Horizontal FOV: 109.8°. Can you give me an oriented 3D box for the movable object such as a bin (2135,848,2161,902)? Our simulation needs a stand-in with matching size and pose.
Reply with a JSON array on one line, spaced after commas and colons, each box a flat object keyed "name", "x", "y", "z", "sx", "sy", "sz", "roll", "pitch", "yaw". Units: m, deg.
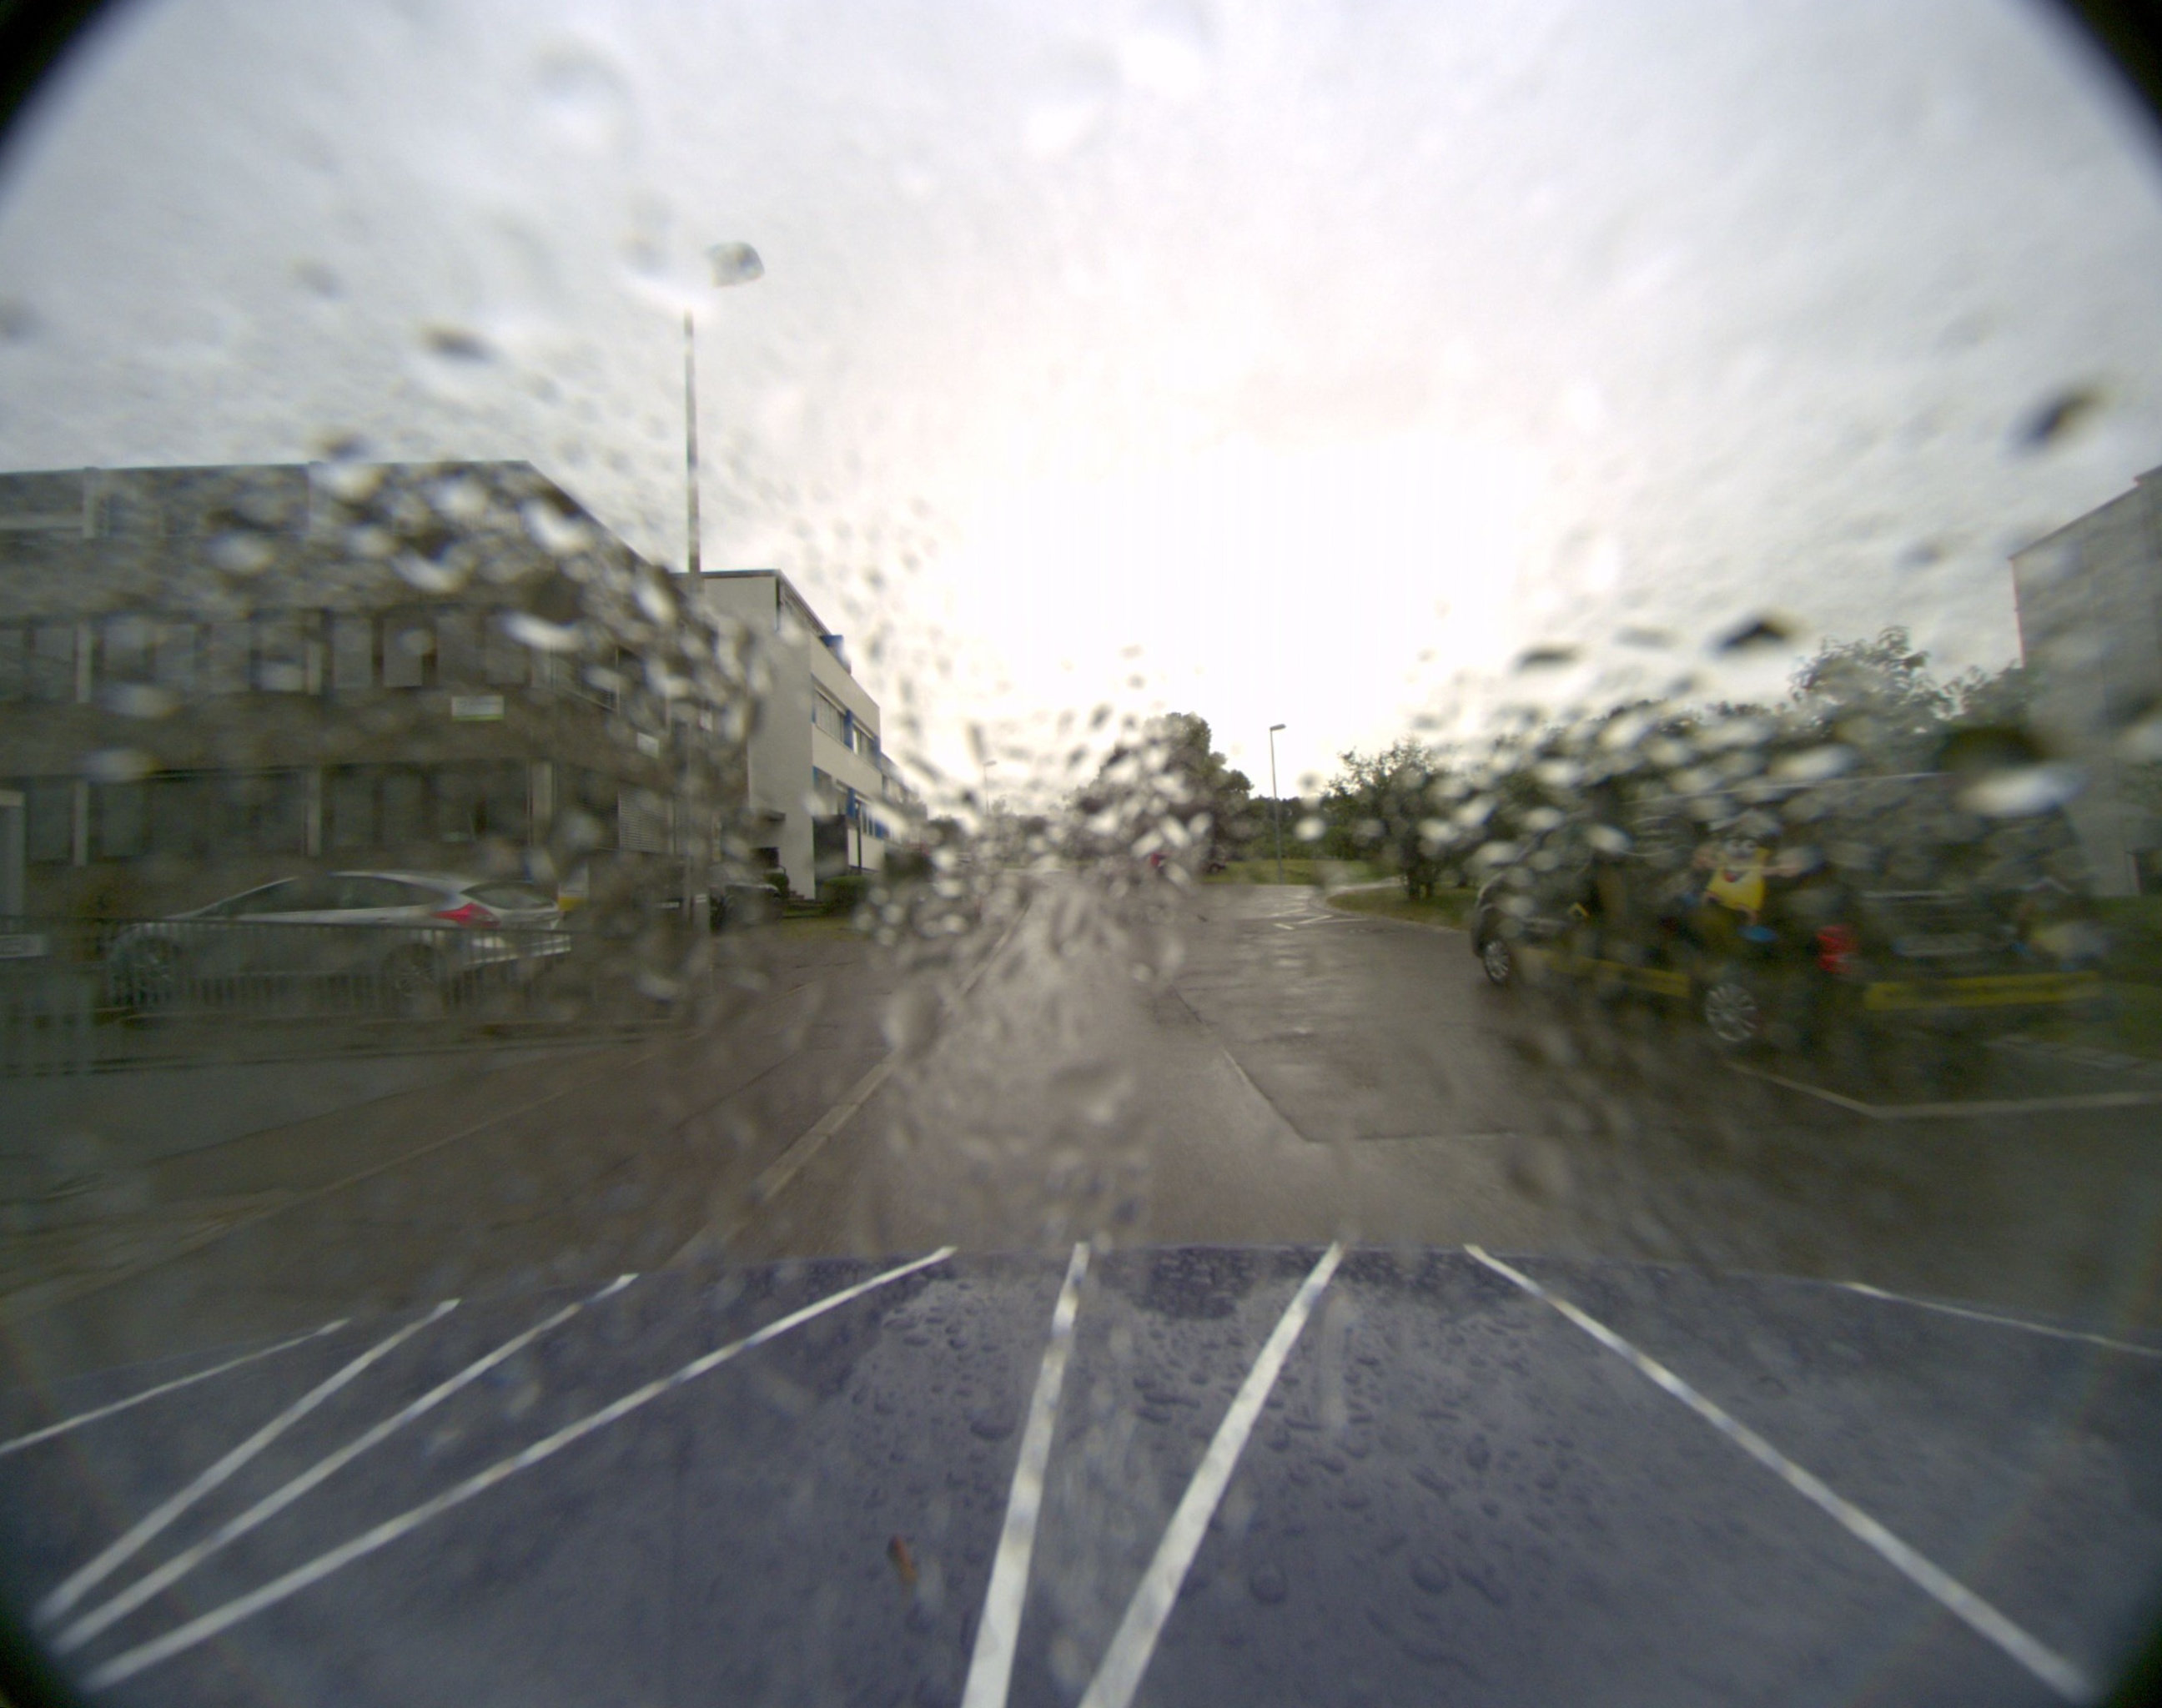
[{"name": "movable object such as a bin", "x": 21.930, "y": 0.413, "z": 15.253, "sx": 0.635, "sy": 1.090, "sz": 0.675, "roll": -1, "pitch": 0, "yaw": 24}]

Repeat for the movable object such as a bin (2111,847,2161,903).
[{"name": "movable object such as a bin", "x": 22.132, "y": 0.436, "z": 15.851, "sx": 0.555, "sy": 1.159, "sz": 0.568, "roll": -1, "pitch": 0, "yaw": 24}]

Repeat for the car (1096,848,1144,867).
[{"name": "car", "x": 3.869, "y": 0.320, "z": 75.295, "sx": 4.382, "sy": 1.712, "sz": 2.043, "roll": -2, "pitch": 1, "yaw": -9}]

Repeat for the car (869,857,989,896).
[{"name": "car", "x": -6.258, "y": 0.905, "z": 31.700, "sx": 4.609, "sy": 1.529, "sz": 2.078, "roll": 0, "pitch": 0, "yaw": -3}]

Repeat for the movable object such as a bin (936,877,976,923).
[{"name": "movable object such as a bin", "x": -2.943, "y": 1.072, "z": 17.989, "sx": 0.773, "sy": 1.024, "sz": 0.808, "roll": -2, "pitch": 0, "yaw": -1}]

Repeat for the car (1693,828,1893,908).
[{"name": "car", "x": 19.740, "y": 0.444, "z": 21.490, "sx": 2.131, "sy": 1.910, "sz": 5.620, "roll": -3, "pitch": -3, "yaw": 21}]

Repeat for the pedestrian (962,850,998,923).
[{"name": "pedestrian", "x": -2.518, "y": 0.806, "z": 19.028, "sx": 0.738, "sy": 1.757, "sz": 0.808, "roll": -2, "pitch": 1, "yaw": -1}]

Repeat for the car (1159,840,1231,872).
[{"name": "car", "x": 7.349, "y": 0.124, "z": 49.228, "sx": 4.311, "sy": 1.895, "sz": 1.862, "roll": -2, "pitch": 1, "yaw": 0}]

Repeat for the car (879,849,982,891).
[{"name": "car", "x": -6.807, "y": 0.709, "z": 34.754, "sx": 4.353, "sy": 1.763, "sz": 2.088, "roll": -2, "pitch": 0, "yaw": -4}]

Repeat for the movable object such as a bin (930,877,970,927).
[{"name": "movable object such as a bin", "x": -2.966, "y": 1.084, "z": 17.253, "sx": 0.745, "sy": 1.060, "sz": 0.636, "roll": -2, "pitch": 0, "yaw": -1}]

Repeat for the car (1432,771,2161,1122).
[{"name": "car", "x": 5.149, "y": 0.479, "z": 6.511, "sx": 1.920, "sy": 1.820, "sz": 4.847, "roll": -2, "pitch": 0, "yaw": -1}]

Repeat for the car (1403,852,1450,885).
[{"name": "car", "x": 20.470, "y": 0.929, "z": 45.191, "sx": 1.996, "sy": 1.742, "sz": 4.392, "roll": -1, "pitch": -4, "yaw": 17}]

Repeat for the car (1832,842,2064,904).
[{"name": "car", "x": 21.896, "y": 0.439, "z": 19.536, "sx": 1.995, "sy": 1.388, "sz": 4.698, "roll": -1, "pitch": 0, "yaw": 21}]

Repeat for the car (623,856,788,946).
[{"name": "car", "x": -8.557, "y": 0.972, "z": 17.824, "sx": 1.753, "sy": 1.740, "sz": 4.472, "roll": -2, "pitch": 1, "yaw": -2}]

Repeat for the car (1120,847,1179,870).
[{"name": "car", "x": 5.777, "y": 0.353, "z": 64.612, "sx": 4.631, "sy": 1.581, "sz": 1.805, "roll": -4, "pitch": 1, "yaw": -5}]

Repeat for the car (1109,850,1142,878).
[{"name": "car", "x": 2.660, "y": 0.581, "z": 46.335, "sx": 1.752, "sy": 1.500, "sz": 3.934, "roll": -3, "pitch": 1, "yaw": 0}]

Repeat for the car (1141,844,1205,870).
[{"name": "car", "x": 6.556, "y": 0.206, "z": 54.231, "sx": 4.209, "sy": 1.712, "sz": 1.754, "roll": -2, "pitch": 1, "yaw": -8}]

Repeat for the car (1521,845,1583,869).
[{"name": "car", "x": 42.752, "y": 0.277, "z": 69.051, "sx": 4.493, "sy": 2.207, "sz": 1.932, "roll": 0, "pitch": 0, "yaw": 17}]

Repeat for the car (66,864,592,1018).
[{"name": "car", "x": -8.542, "y": 0.933, "z": 9.020, "sx": 4.132, "sy": 1.565, "sz": 2.003, "roll": 0, "pitch": 1, "yaw": -3}]

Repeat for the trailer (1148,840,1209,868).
[{"name": "trailer", "x": 7.312, "y": -0.017, "z": 57.205, "sx": 4.225, "sy": 1.973, "sz": 1.773, "roll": -2, "pitch": 1, "yaw": -5}]

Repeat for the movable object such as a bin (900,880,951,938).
[{"name": "movable object such as a bin", "x": -3.124, "y": 1.094, "z": 15.279, "sx": 0.730, "sy": 1.107, "sz": 0.704, "roll": -2, "pitch": 0, "yaw": 14}]
